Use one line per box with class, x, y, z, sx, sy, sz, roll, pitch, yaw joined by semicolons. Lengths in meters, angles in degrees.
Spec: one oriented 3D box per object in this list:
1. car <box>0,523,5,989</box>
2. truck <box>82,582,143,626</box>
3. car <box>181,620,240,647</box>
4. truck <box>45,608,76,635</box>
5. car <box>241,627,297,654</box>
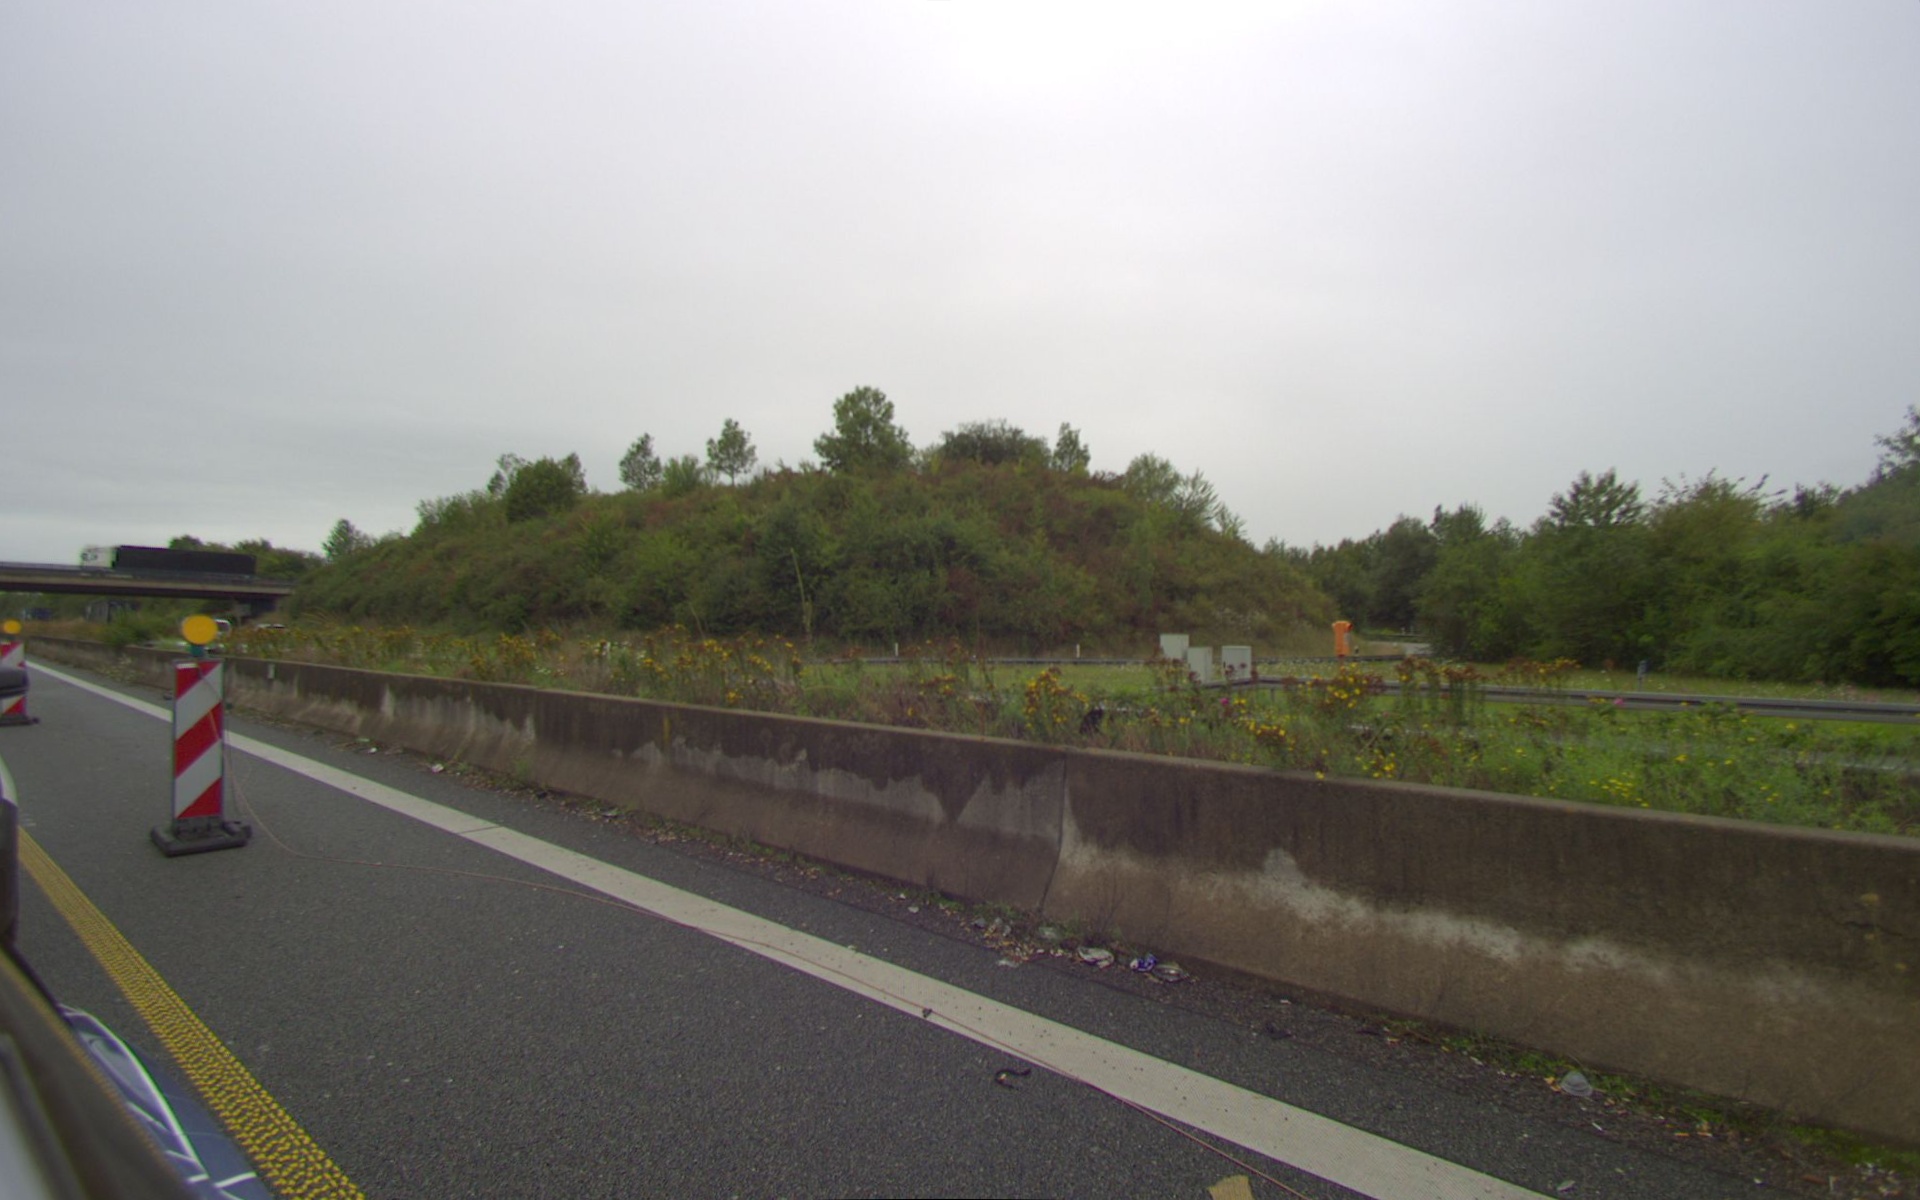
car;-5.972;0.634;4.728;4.645;1.798;1.747;-2;-1;41
truck;-95.433;0.487;113.832;17.291;4.558;3.369;-1;-1;44
car;-45.254;2.007;61.037;4.744;1.555;1.849;-2;-3;41
truck;-149.143;3.443;167.778;12.517;4.277;2.646;0;0;43
car;-44.400;2.621;65.013;4.294;1.674;1.972;-2;-3;41
